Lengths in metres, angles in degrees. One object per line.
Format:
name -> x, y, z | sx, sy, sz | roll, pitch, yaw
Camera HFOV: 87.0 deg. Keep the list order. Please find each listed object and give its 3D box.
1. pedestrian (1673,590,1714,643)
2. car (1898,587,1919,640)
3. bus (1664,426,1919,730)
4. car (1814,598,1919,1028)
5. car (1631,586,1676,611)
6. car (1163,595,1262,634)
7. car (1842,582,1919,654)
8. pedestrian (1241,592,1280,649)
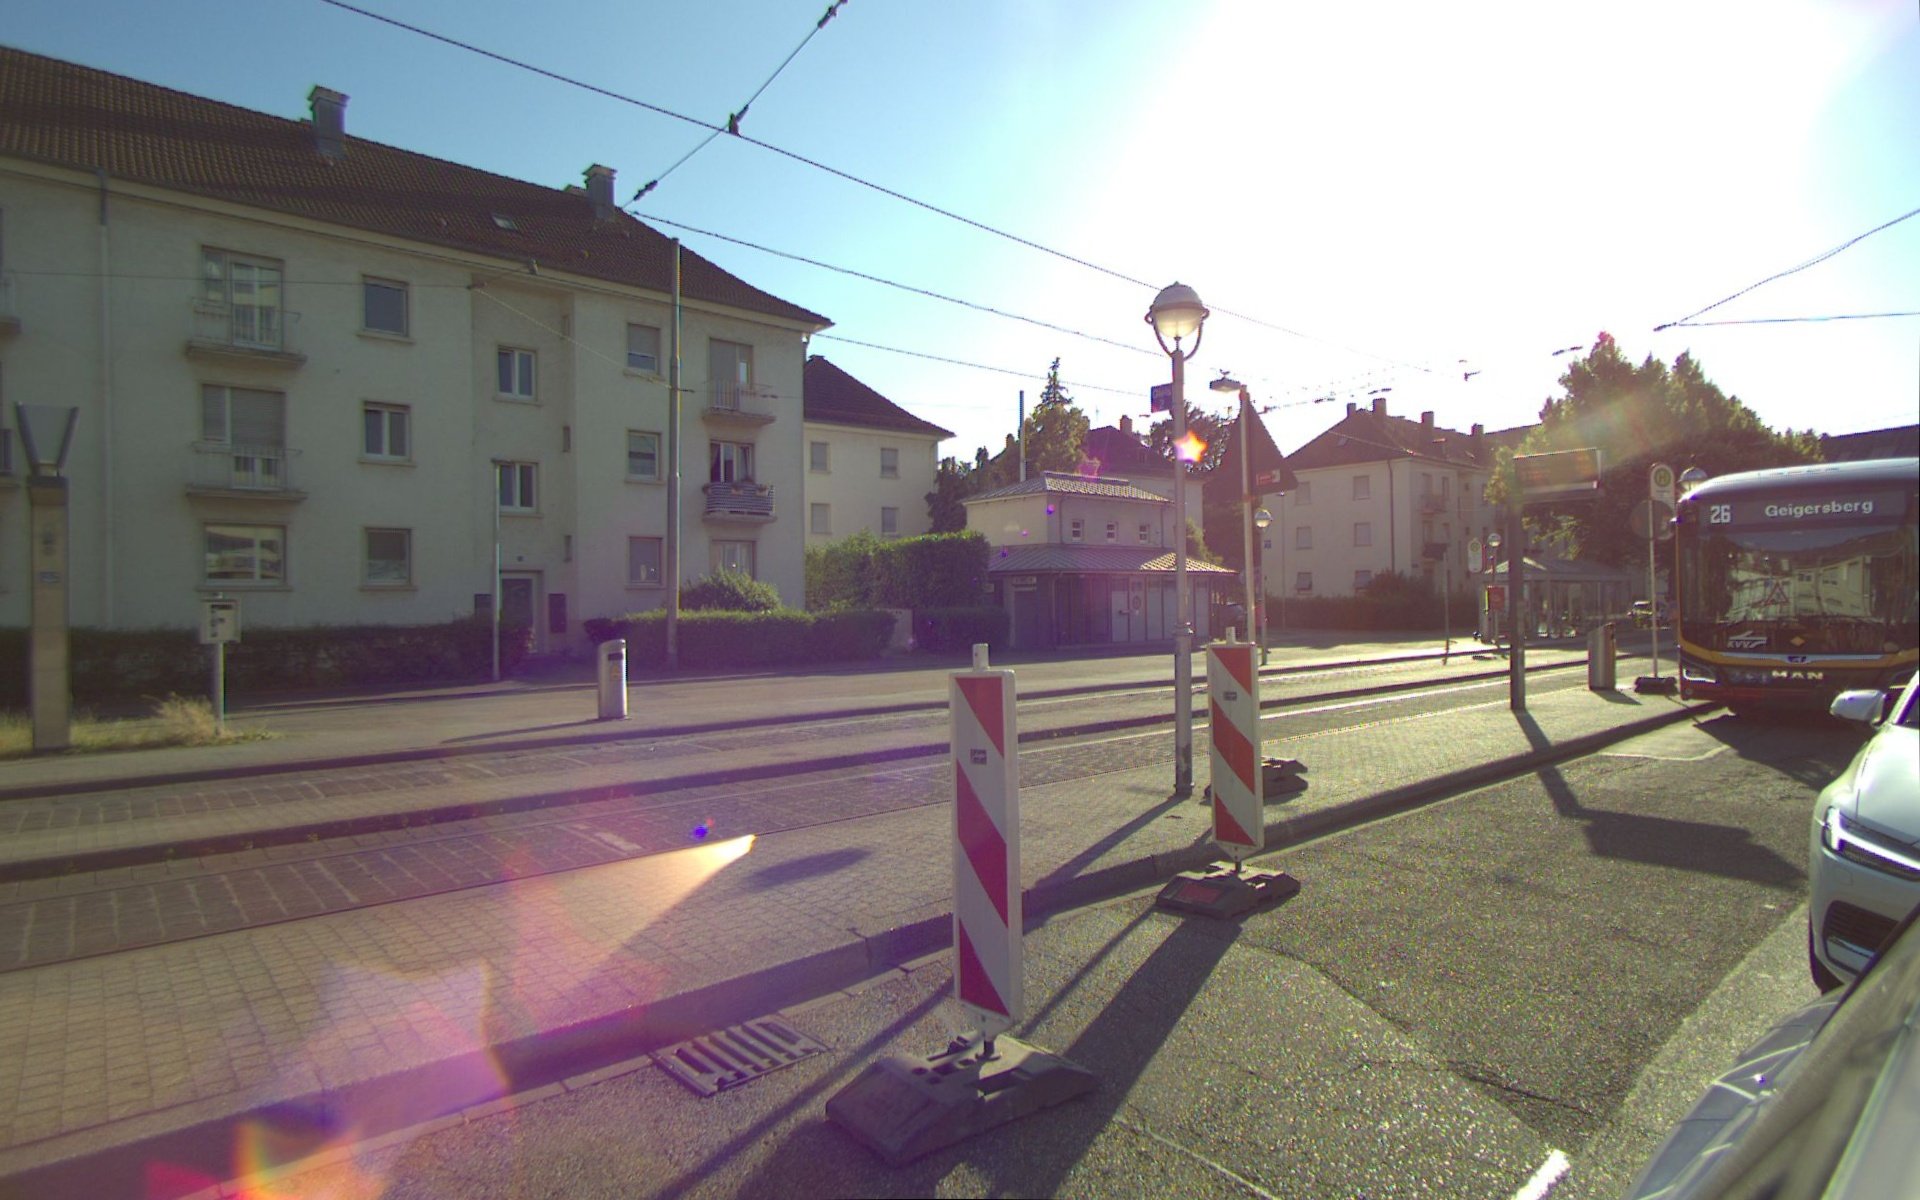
pedestrian -> 23.142, 0.516, 31.952 | 0.814, 1.631, 0.837 | 0, 0, 19
car -> 28.782, 0.370, 29.233 | 4.740, 1.477, 1.968 | 0, 0, -41
bus -> 14.315, -0.263, 15.849 | 11.824, 3.345, 2.745 | 0, 0, -42
car -> 5.272, 0.732, 4.361 | 4.143, 1.472, 1.819 | 0, 0, -41
car -> 53.775, -0.108, 78.439 | 3.930, 1.887, 1.997 | -1, 0, -41
car -> 11.582, 0.683, 46.670 | 1.964, 1.694, 4.050 | -1, -1, -39
car -> 21.223, 0.360, 22.367 | 4.740, 1.477, 1.968 | 0, 0, -41
pedestrian -> 9.486, 0.634, 31.963 | 0.810, 1.740, 0.842 | 0, 0, -37
